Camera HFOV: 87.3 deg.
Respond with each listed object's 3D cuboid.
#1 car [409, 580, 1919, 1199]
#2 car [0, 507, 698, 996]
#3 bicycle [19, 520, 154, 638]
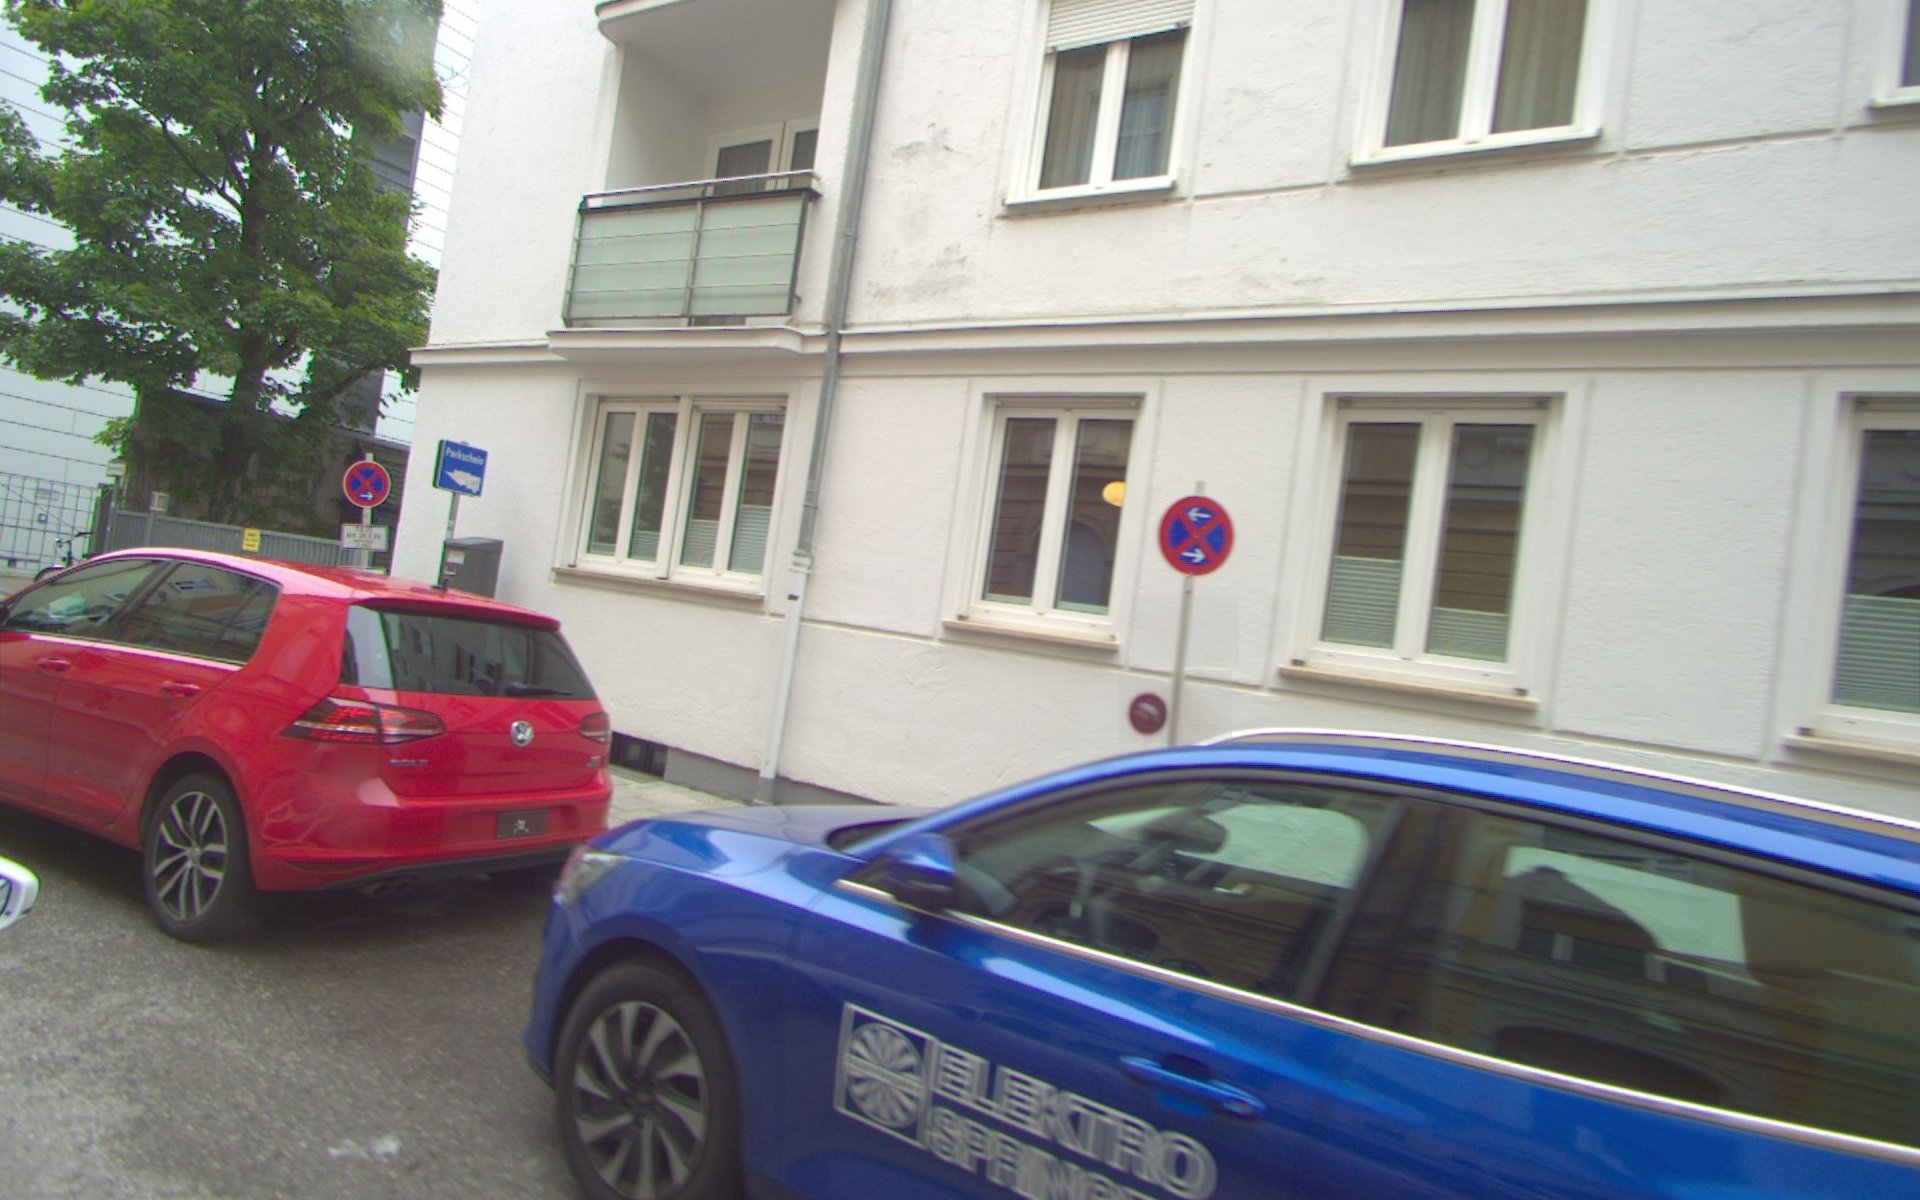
[{"bbox_3d":[0.836,1.000,2.433,4.311,1.454,1.800,7,-4,32],"label":"car"},{"bbox_3d":[-3.670,0.470,5.105,4.222,1.462,1.768,7,-4,25],"label":"car"},{"bbox_3d":[-11.456,-0.283,13.174,1.803,1.212,0.709,10,0,32],"label":"bicycle"}]
